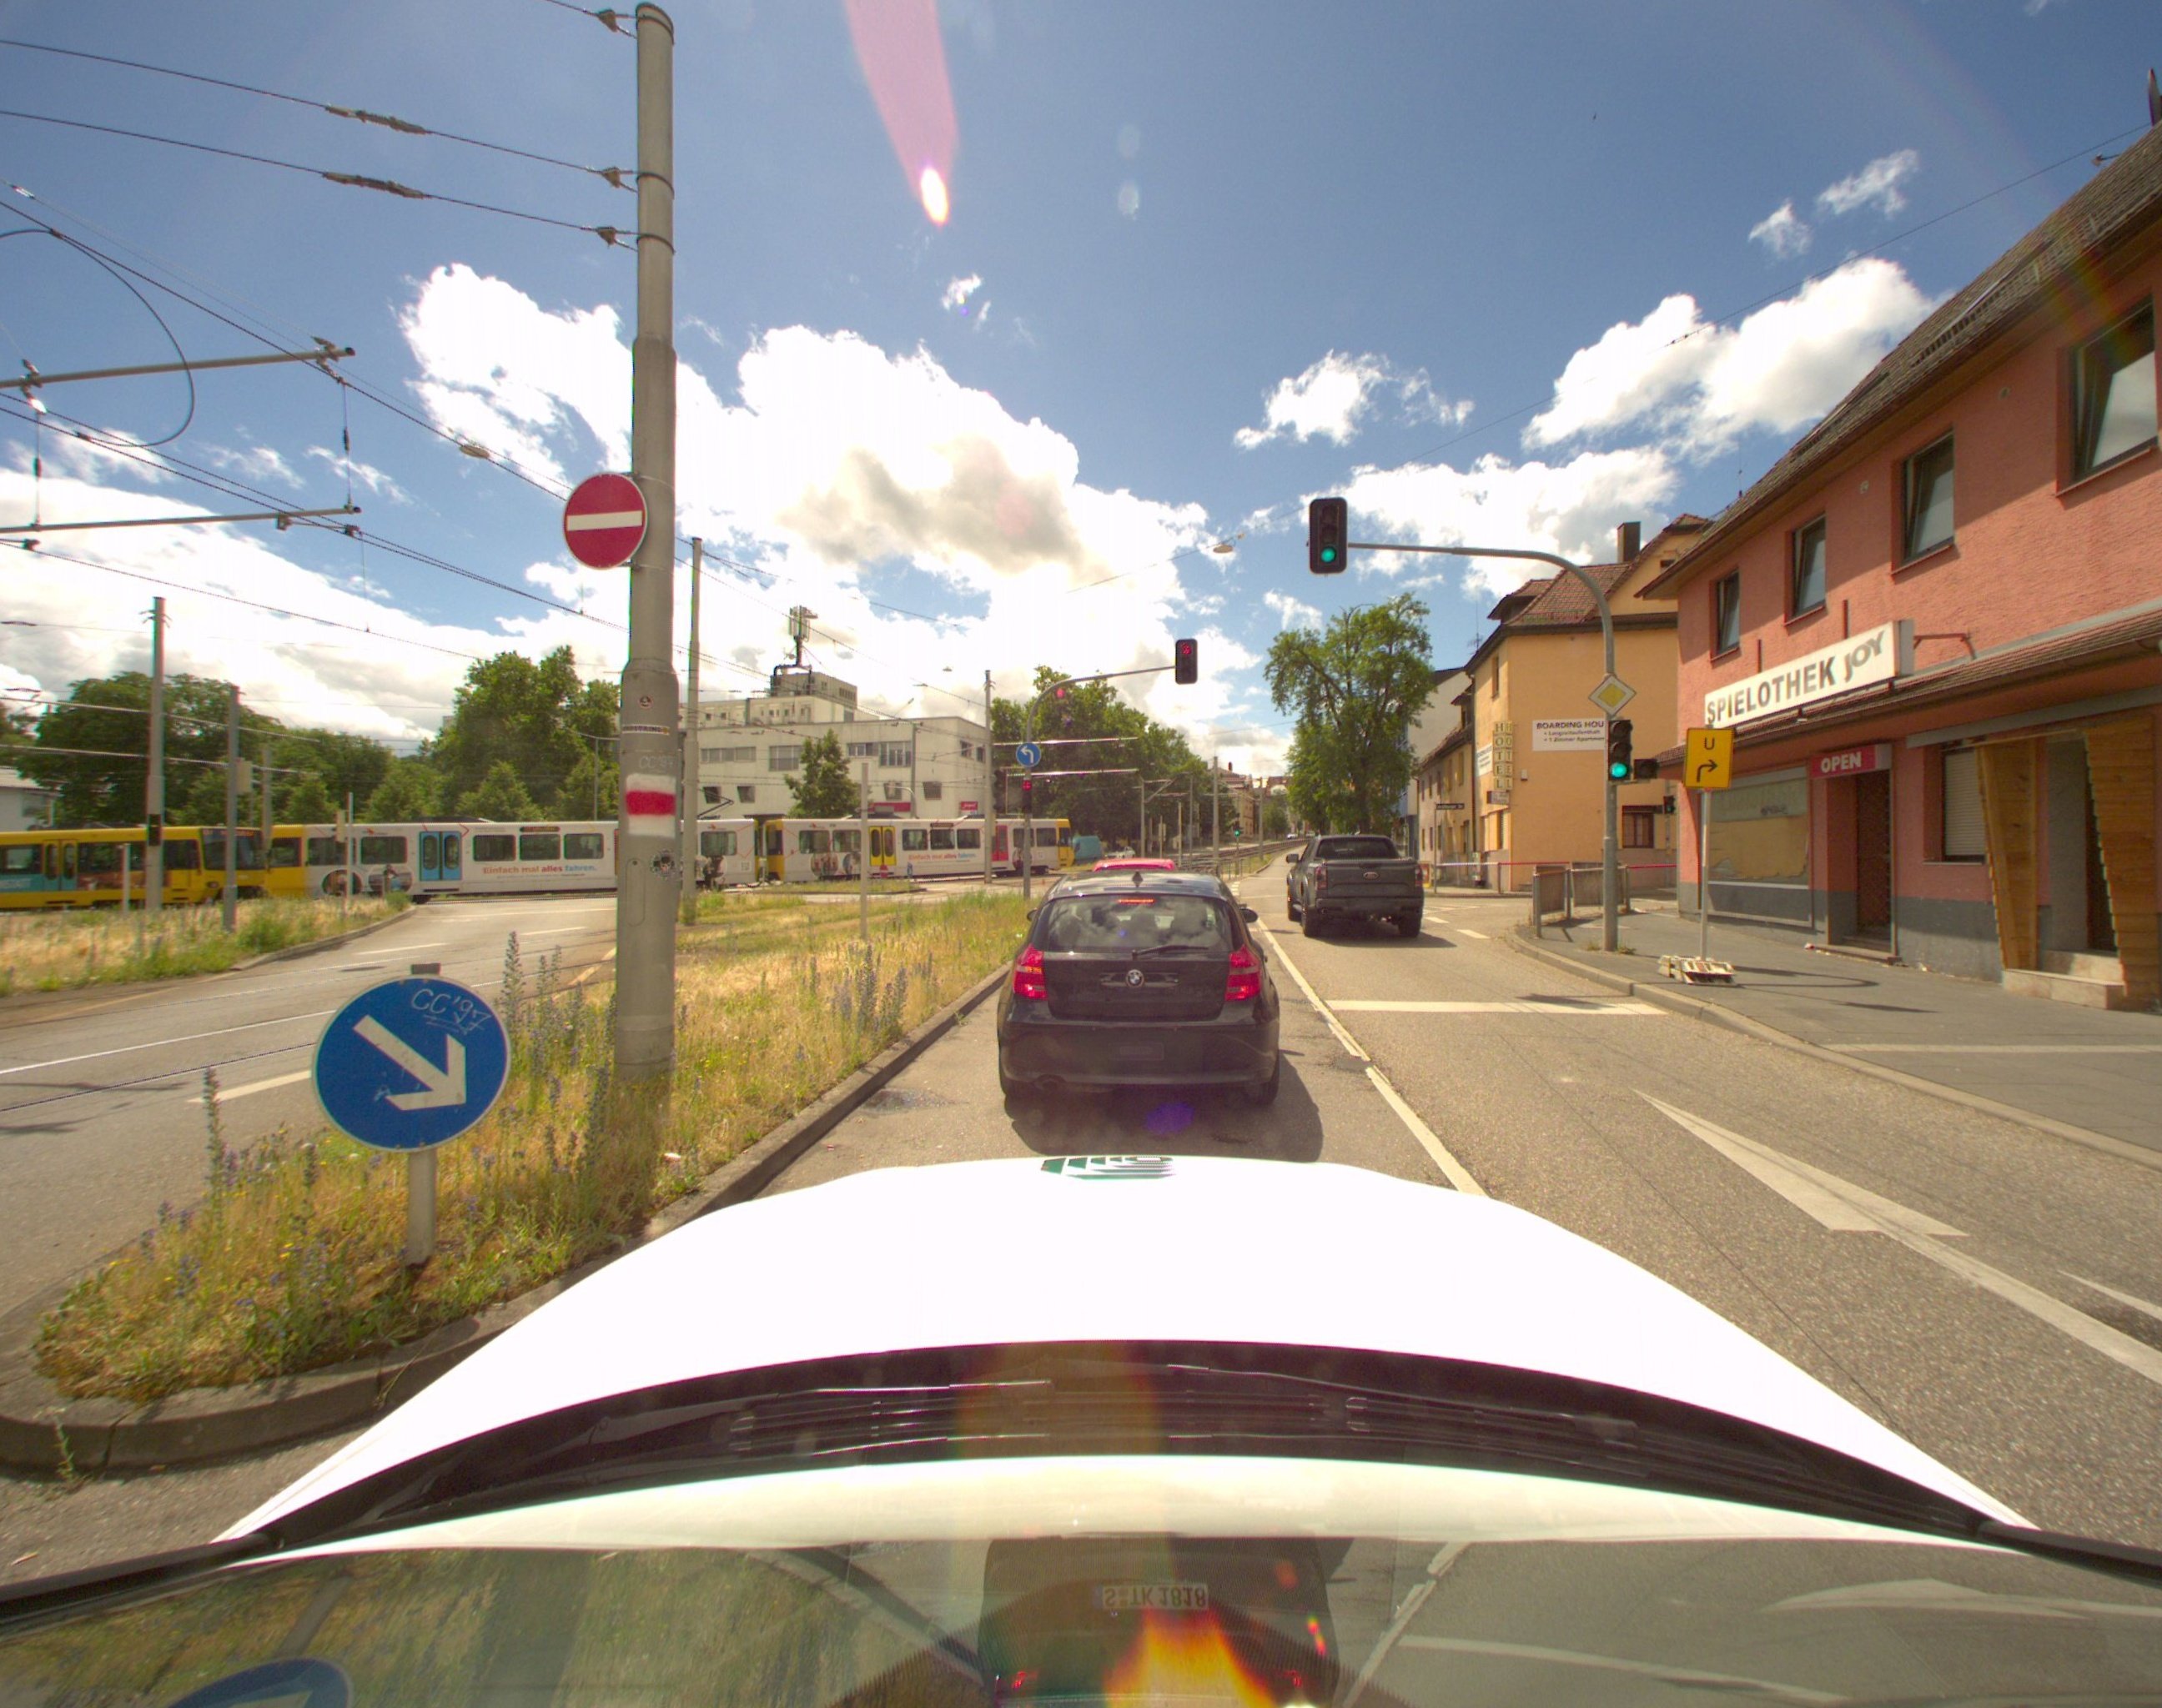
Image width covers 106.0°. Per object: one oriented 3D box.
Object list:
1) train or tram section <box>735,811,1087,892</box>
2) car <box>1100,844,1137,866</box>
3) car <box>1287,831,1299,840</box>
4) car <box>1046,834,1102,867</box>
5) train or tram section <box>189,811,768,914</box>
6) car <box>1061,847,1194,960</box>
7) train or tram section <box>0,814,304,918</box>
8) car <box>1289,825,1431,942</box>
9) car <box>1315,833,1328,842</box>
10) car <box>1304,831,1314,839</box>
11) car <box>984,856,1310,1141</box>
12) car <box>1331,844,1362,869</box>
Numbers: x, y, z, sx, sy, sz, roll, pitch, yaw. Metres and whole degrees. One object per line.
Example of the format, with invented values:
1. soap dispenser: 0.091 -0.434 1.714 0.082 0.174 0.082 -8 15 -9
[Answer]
1. train or tram section: -8.546 -0.170 46.131 20.155 3.814 3.717 -1 -1 -41
2. car: 3.662 0.103 78.106 1.836 1.928 4.824 -2 -1 24
3. car: 48.653 -4.267 186.925 1.976 2.014 4.022 -2 -1 23
4. car: -0.537 -0.254 69.890 2.110 2.654 5.726 -2 -1 30
5. train or tram section: -25.234 0.185 36.651 20.637 3.879 3.736 -1 -1 -20
6. car: 0.888 0.694 12.913 1.615 1.473 4.010 -2 -1 10
7. train or tram section: -44.087 0.669 34.102 20.001 3.829 3.764 -2 -1 2
8. car: 5.231 0.523 15.969 1.986 1.887 5.167 -2 -1 12
9. car: 41.696 -2.803 141.325 1.799 1.468 4.021 -1 0 21
10. car: 57.689 -4.809 206.029 1.976 2.014 4.022 -2 -1 23
11. car: 0.343 0.794 6.326 1.696 1.452 3.999 -2 -1 0
12. car: 18.105 0.212 55.763 1.774 1.596 4.016 -2 -1 15
